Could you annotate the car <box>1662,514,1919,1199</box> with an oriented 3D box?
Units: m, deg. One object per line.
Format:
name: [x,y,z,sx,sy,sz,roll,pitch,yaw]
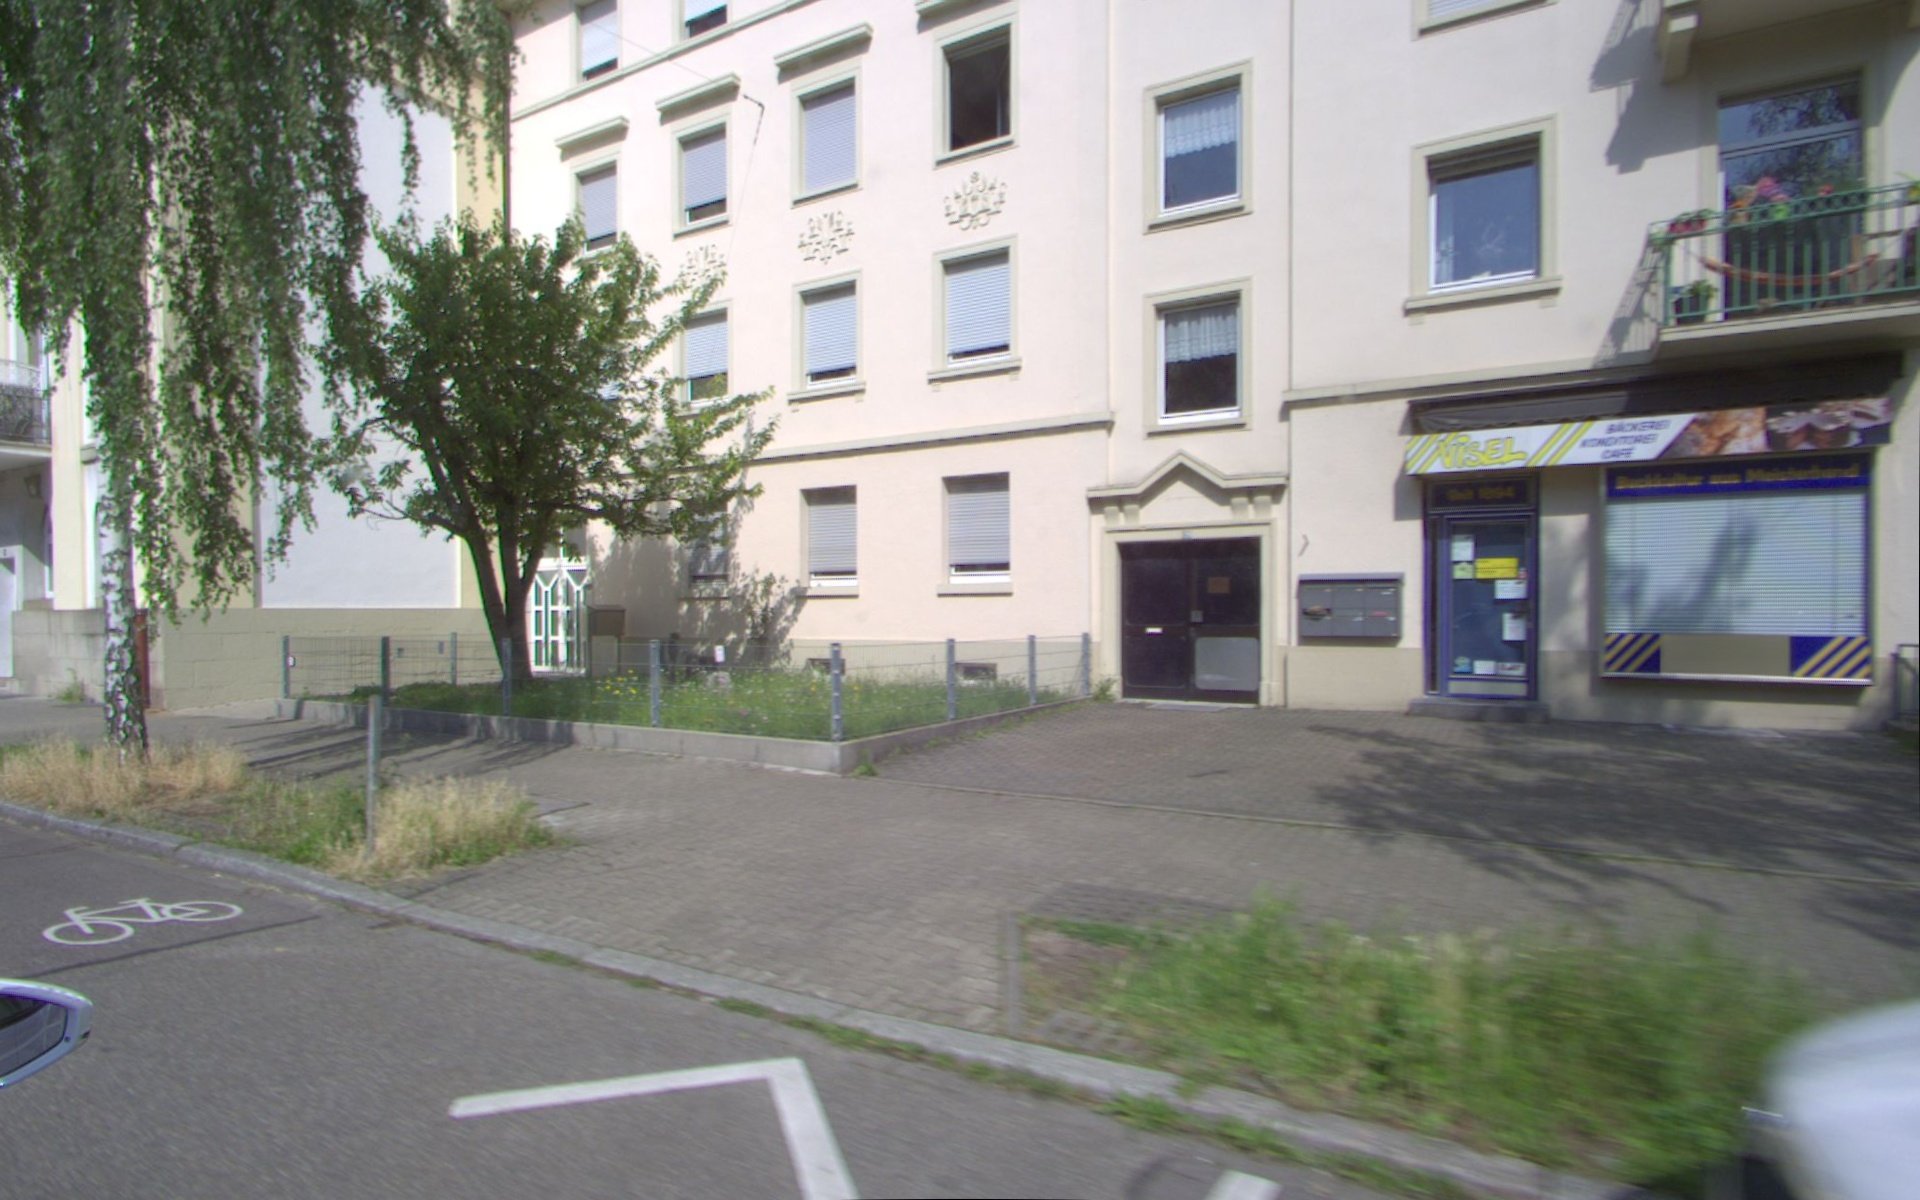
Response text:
car: [2.901,0.768,0.653,3.945,1.650,1.718,-1,-3,34]
